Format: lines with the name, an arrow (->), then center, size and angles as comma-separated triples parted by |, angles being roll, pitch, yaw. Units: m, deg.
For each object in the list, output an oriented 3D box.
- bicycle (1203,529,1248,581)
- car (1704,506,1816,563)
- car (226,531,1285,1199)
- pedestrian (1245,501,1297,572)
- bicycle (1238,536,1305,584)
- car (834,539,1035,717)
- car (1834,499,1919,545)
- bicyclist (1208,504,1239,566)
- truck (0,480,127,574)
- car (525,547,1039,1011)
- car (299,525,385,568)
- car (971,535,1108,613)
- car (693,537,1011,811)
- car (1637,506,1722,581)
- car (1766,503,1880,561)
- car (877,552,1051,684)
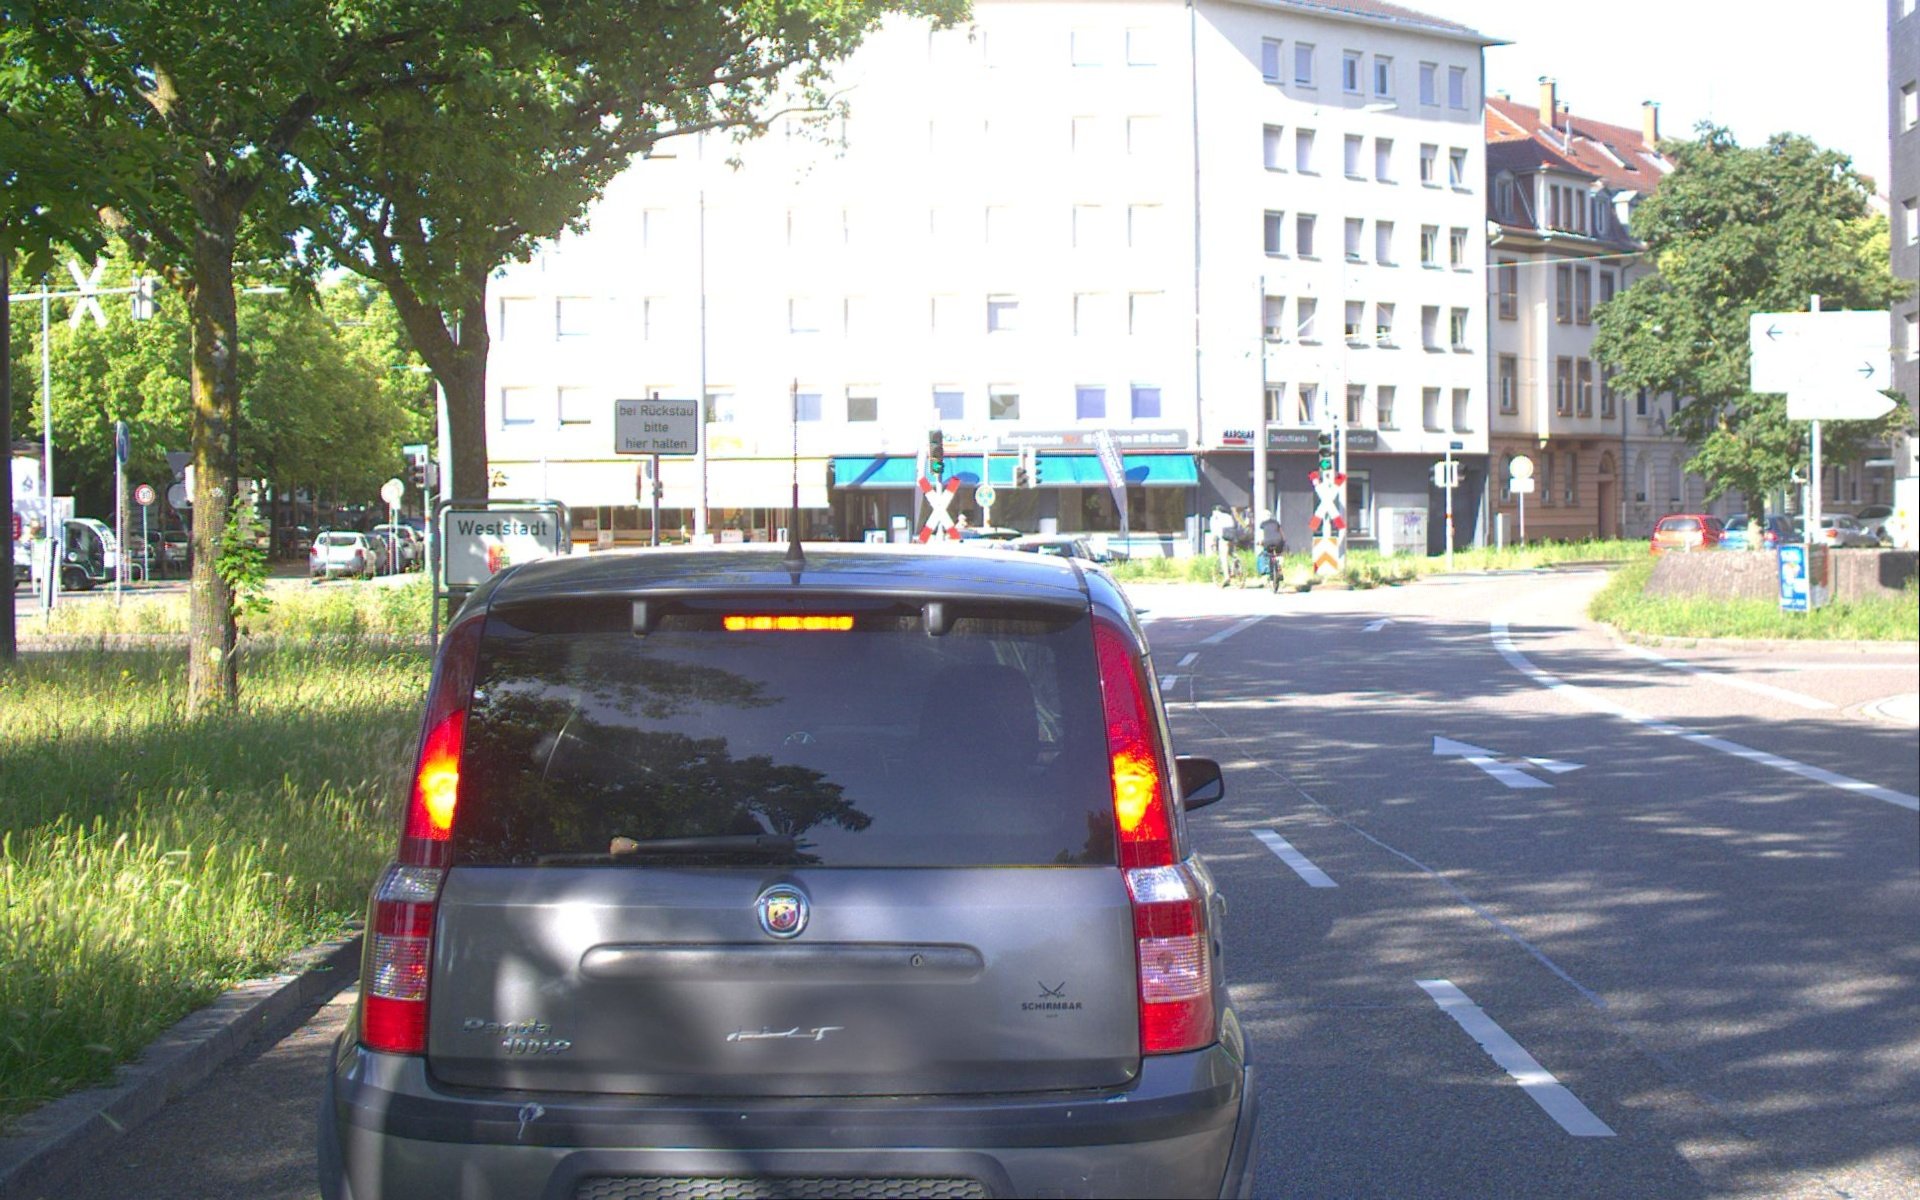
bicycle -> 5.738, -0.978, 74.397 | 0.530, 1.086, 1.586 | -1, 1, -12
car -> 21.045, -1.742, 90.366 | 1.778, 1.437, 3.612 | 1, 2, 32
car -> -0.291, 0.628, 7.046 | 1.660, 1.505, 3.251 | 0, 1, 1
pedestrian -> 6.296, -1.279, 69.668 | 0.773, 1.423, 0.939 | 1, 0, -14
bicycle -> 6.303, -0.814, 69.619 | 0.782, 0.948, 1.857 | 1, 1, -14
car -> -0.180, 0.200, 30.057 | 1.646, 1.433, 3.396 | 0, 1, 1
car -> 32.583, -2.757, 120.993 | 1.904, 1.588, 4.001 | -1, 2, -13
bicyclist -> 5.710, -1.411, 74.506 | 0.530, 1.352, 0.598 | -1, 1, -12
truck -> -24.101, -1.911, 90.154 | 4.096, 2.418, 1.794 | 0, 1, -4
car -> -0.586, 0.540, 12.784 | 1.621, 1.424, 3.688 | -1, 1, -1
car -> -19.415, -1.700, 108.146 | 1.993, 1.305, 4.000 | -1, 1, -1
car -> 1.378, -0.463, 58.068 | 1.994, 1.238, 3.999 | 0, 1, 6
car -> -0.632, 0.375, 21.310 | 1.760, 1.481, 4.294 | -1, 1, -1
car -> 19.919, -1.548, 95.036 | 1.995, 2.007, 3.997 | 1, 1, 16
car -> 23.742, -1.889, 94.493 | 1.823, 1.503, 3.993 | 0, 2, 33
car -> 0.087, 0.156, 36.006 | 1.690, 1.249, 3.626 | -1, 2, 2
